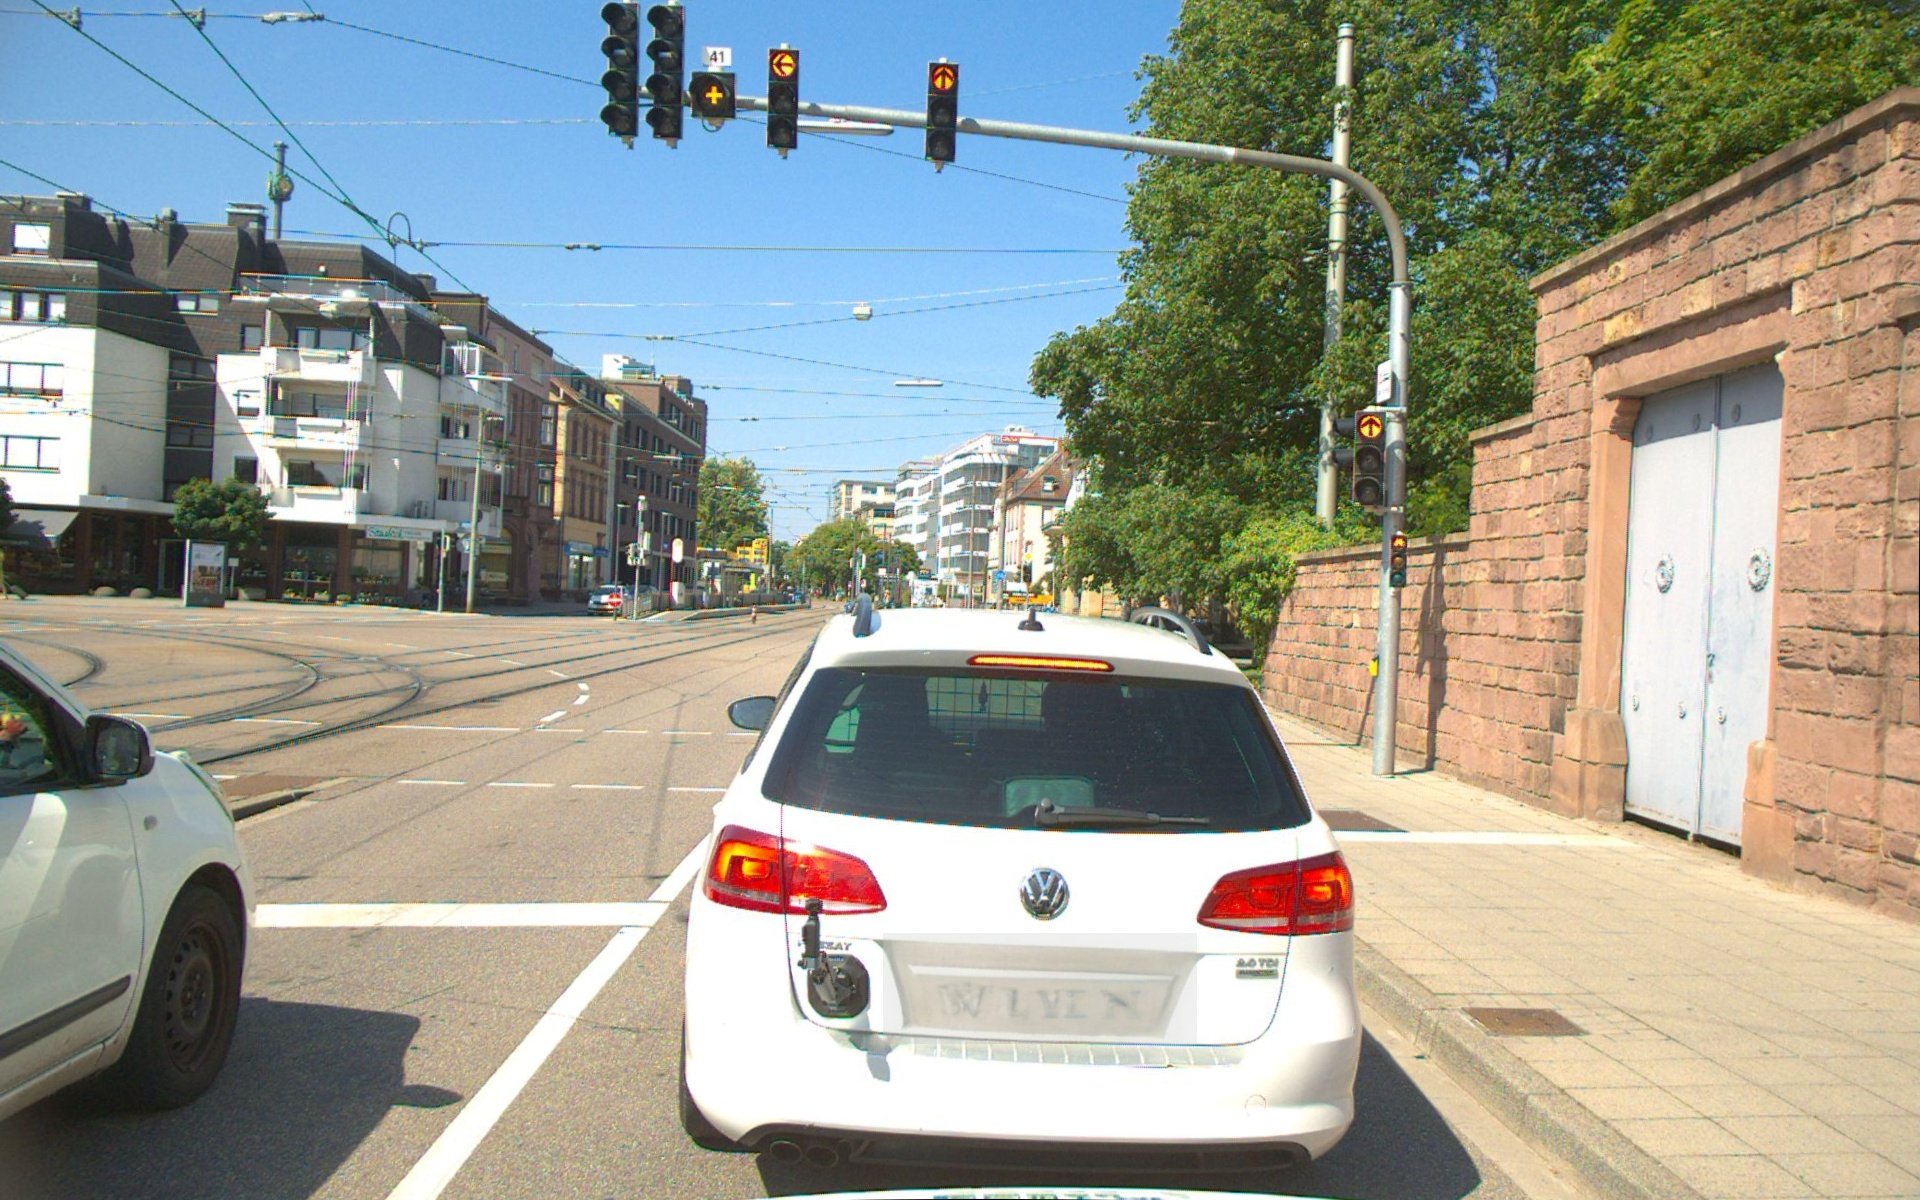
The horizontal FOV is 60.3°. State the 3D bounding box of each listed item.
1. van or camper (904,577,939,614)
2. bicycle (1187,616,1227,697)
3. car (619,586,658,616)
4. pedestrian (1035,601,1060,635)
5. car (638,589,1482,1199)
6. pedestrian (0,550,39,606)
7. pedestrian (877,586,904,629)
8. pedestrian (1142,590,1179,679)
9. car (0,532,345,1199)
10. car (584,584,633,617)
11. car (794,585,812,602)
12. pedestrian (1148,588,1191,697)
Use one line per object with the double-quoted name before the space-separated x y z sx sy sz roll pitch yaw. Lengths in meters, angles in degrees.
"van or camper" -3.657 -0.446 154.937 2.886 3.235 6.607 2 0 -4
"bicycle" 3.629 0.815 24.306 0.524 1.131 1.808 1 -1 8
"car" -17.053 0.055 87.856 1.542 1.484 3.811 2 0 -4
"pedestrian" 3.978 0.818 74.888 0.839 1.536 0.781 2 0 25
"car" 0.185 0.730 5.374 1.717 1.442 3.852 2 0 -1
"pedestrian" -32.420 -0.745 56.371 1.101 1.868 1.432 2 0 38
"pedestrian" -2.987 0.328 71.063 0.814 1.841 0.829 2 0 23
"pedestrian" 3.965 0.676 32.748 0.636 1.711 0.708 2 0 5
"car" -2.893 0.635 3.436 1.730 1.588 4.066 1 0 -1
"car" -16.973 0.026 80.003 1.593 1.456 3.961 4 0 -3
"car" -19.437 -0.828 204.576 1.954 2.049 3.998 1 0 -3
"pedestrian" 3.060 0.610 24.221 0.529 1.576 0.663 0 0 -2
